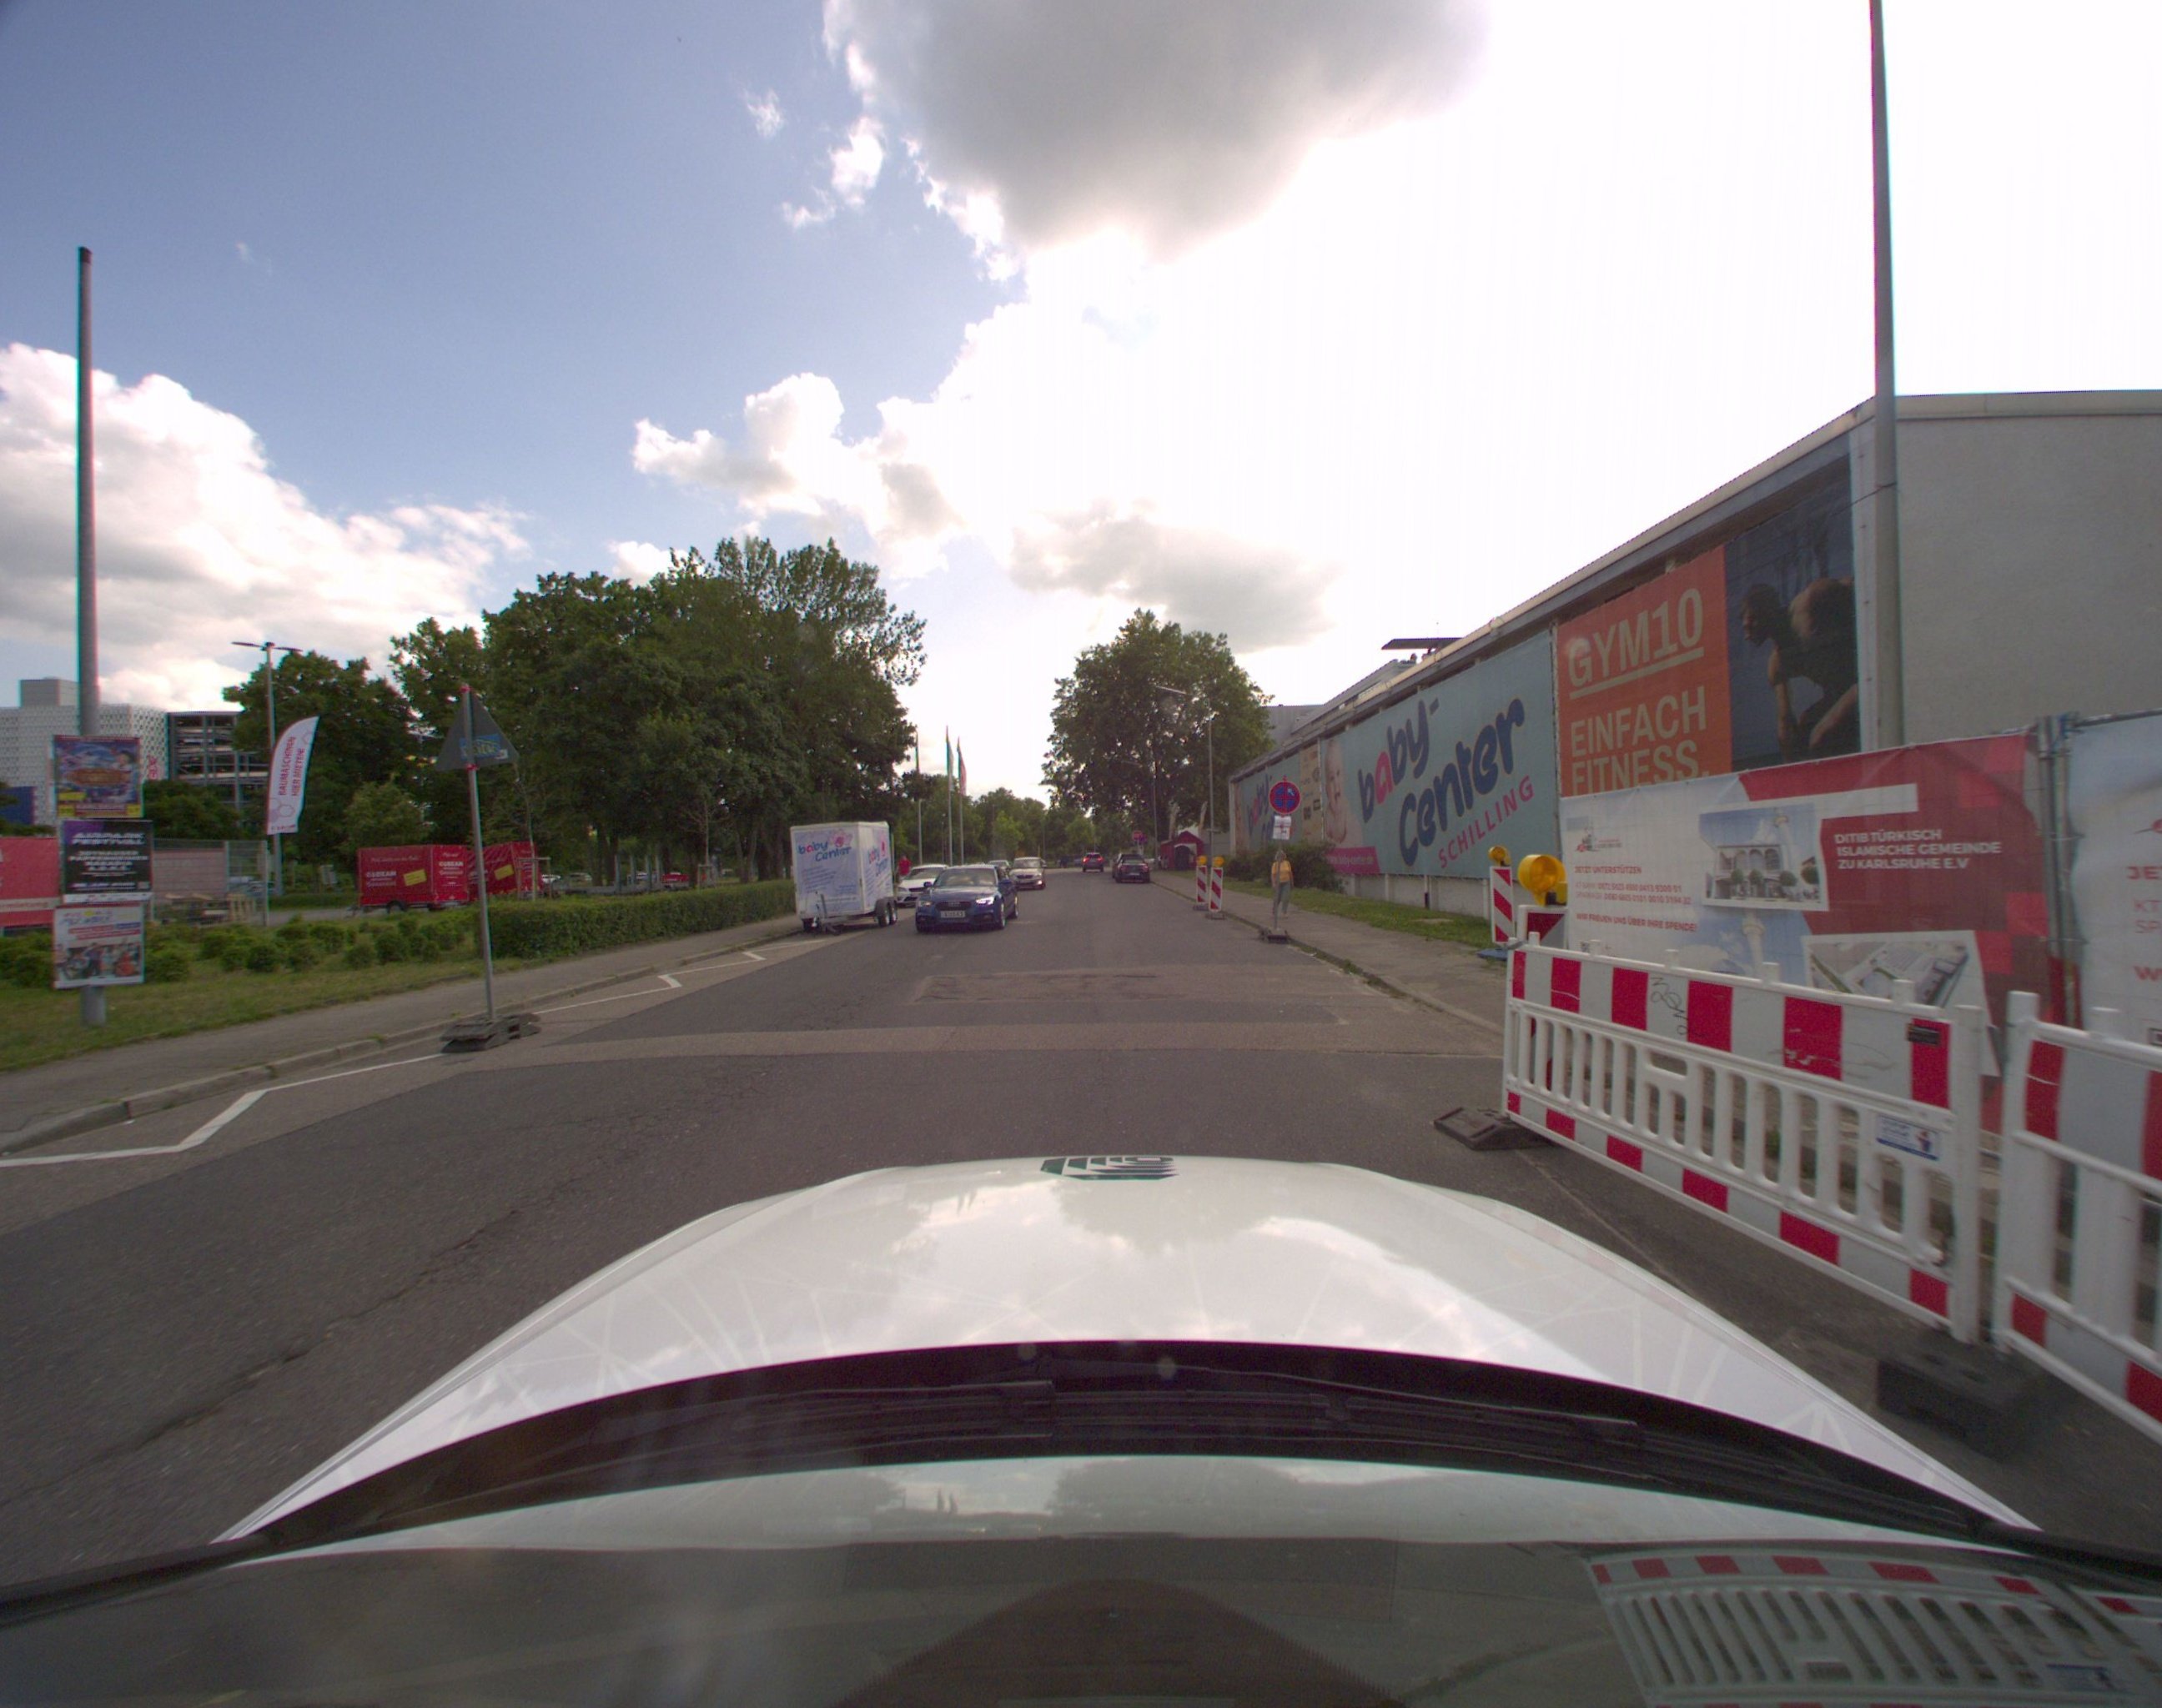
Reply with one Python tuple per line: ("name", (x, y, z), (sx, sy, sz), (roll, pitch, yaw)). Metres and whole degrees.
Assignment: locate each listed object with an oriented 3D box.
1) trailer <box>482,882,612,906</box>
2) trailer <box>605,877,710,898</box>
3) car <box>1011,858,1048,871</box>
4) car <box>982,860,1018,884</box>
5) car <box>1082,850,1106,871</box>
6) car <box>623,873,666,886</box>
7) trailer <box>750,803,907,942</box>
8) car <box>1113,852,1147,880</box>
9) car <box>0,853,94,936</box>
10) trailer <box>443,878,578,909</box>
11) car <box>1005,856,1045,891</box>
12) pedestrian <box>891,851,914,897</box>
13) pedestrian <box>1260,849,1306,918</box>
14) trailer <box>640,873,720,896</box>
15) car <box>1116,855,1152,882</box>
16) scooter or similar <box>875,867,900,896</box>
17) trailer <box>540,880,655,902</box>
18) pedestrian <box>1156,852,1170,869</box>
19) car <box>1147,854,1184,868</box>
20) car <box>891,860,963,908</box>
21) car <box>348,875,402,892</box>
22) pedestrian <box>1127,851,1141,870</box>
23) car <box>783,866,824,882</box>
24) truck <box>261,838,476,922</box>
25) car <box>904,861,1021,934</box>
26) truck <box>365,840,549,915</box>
("trailer", (-23.185, 1.735, 35.496), (4.223, 0.913, 2.158), (-2, -2, -2))
("trailer", (-23.230, 1.850, 44.763), (4.572, 0.913, 2.191), (-2, 0, 5))
("car", (-6.057, 1.186, 96.377), (4.209, 1.406, 1.922), (-2, 0, -2))
("car", (-5.388, 1.182, 54.745), (1.703, 1.420, 4.333), (-5, 0, 2))
("car", (1.189, 0.602, 74.224), (1.956, 1.815, 4.273), (-2, 0, -1))
("car", (-50.789, 2.960, 94.859), (4.006, 1.406, 1.796), (-2, 0, -2))
("trailer", (-5.848, 0.393, 19.596), (2.133, 2.783, 4.702), (-4, 0, 0))
("car", (3.045, 0.744, 51.646), (1.803, 1.665, 4.638), (1, 0, -1))
("car", (-35.012, 1.270, 24.668), (2.258, 2.594, 6.438), (-2, -2, 1))
("trailer", (-23.091, 1.593, 33.084), (4.223, 1.121, 1.670), (-2, -2, -2))
("car", (-2.588, 0.877, 38.343), (1.586, 1.465, 3.761), (-3, 0, 0))
("pedestrian", (-8.033, 0.880, 36.655), (0.807, 2.014, 0.885), (-2, -1, 0))
("pedestrian", (4.664, 0.660, 18.850), (0.680, 1.534, 1.128), (-1, -1, -5))
("trailer", (-23.316, 1.756, 47.398), (3.797, 1.190, 1.718), (-2, 0, 6))
("car", (2.907, 0.790, 45.460), (1.801, 1.391, 4.590), (1, 0, 2))
("scooter or similar", (-8.247, 1.164, 34.800), (0.514, 1.193, 1.284), (-1, -1, 12))
("trailer", (-23.004, 1.768, 38.881), (4.223, 0.913, 2.021), (-2, -2, -2))
("pedestrian", (6.690, 0.545, 66.430), (1.008, 1.314, 0.967), (-2, -1, 8))
("car", (10.056, 0.845, 97.014), (4.209, 1.579, 1.922), (-2, 0, -2))
("car", (-5.559, 1.047, 29.914), (1.760, 1.479, 4.234), (-4, 0, -1))
("car", (-80.001, 3.344, 92.327), (1.974, 1.684, 4.289), (-2, -1, 37))
("pedestrian", (5.404, 0.661, 82.603), (1.003, 1.849, 1.222), (-1, -1, -17))
("car", (-40.888, 2.954, 120.004), (5.274, 2.211, 1.796), (-2, -1, -3))
("truck", (-23.953, 0.884, 27.516), (5.732, 2.594, 1.816), (-2, -2, 2))
("car", (-2.566, 0.894, 18.708), (1.916, 1.377, 4.380), (-2, 0, 1))
("truck", (-23.419, 0.898, 30.708), (5.528, 2.594, 1.779), (-2, -2, 0))
